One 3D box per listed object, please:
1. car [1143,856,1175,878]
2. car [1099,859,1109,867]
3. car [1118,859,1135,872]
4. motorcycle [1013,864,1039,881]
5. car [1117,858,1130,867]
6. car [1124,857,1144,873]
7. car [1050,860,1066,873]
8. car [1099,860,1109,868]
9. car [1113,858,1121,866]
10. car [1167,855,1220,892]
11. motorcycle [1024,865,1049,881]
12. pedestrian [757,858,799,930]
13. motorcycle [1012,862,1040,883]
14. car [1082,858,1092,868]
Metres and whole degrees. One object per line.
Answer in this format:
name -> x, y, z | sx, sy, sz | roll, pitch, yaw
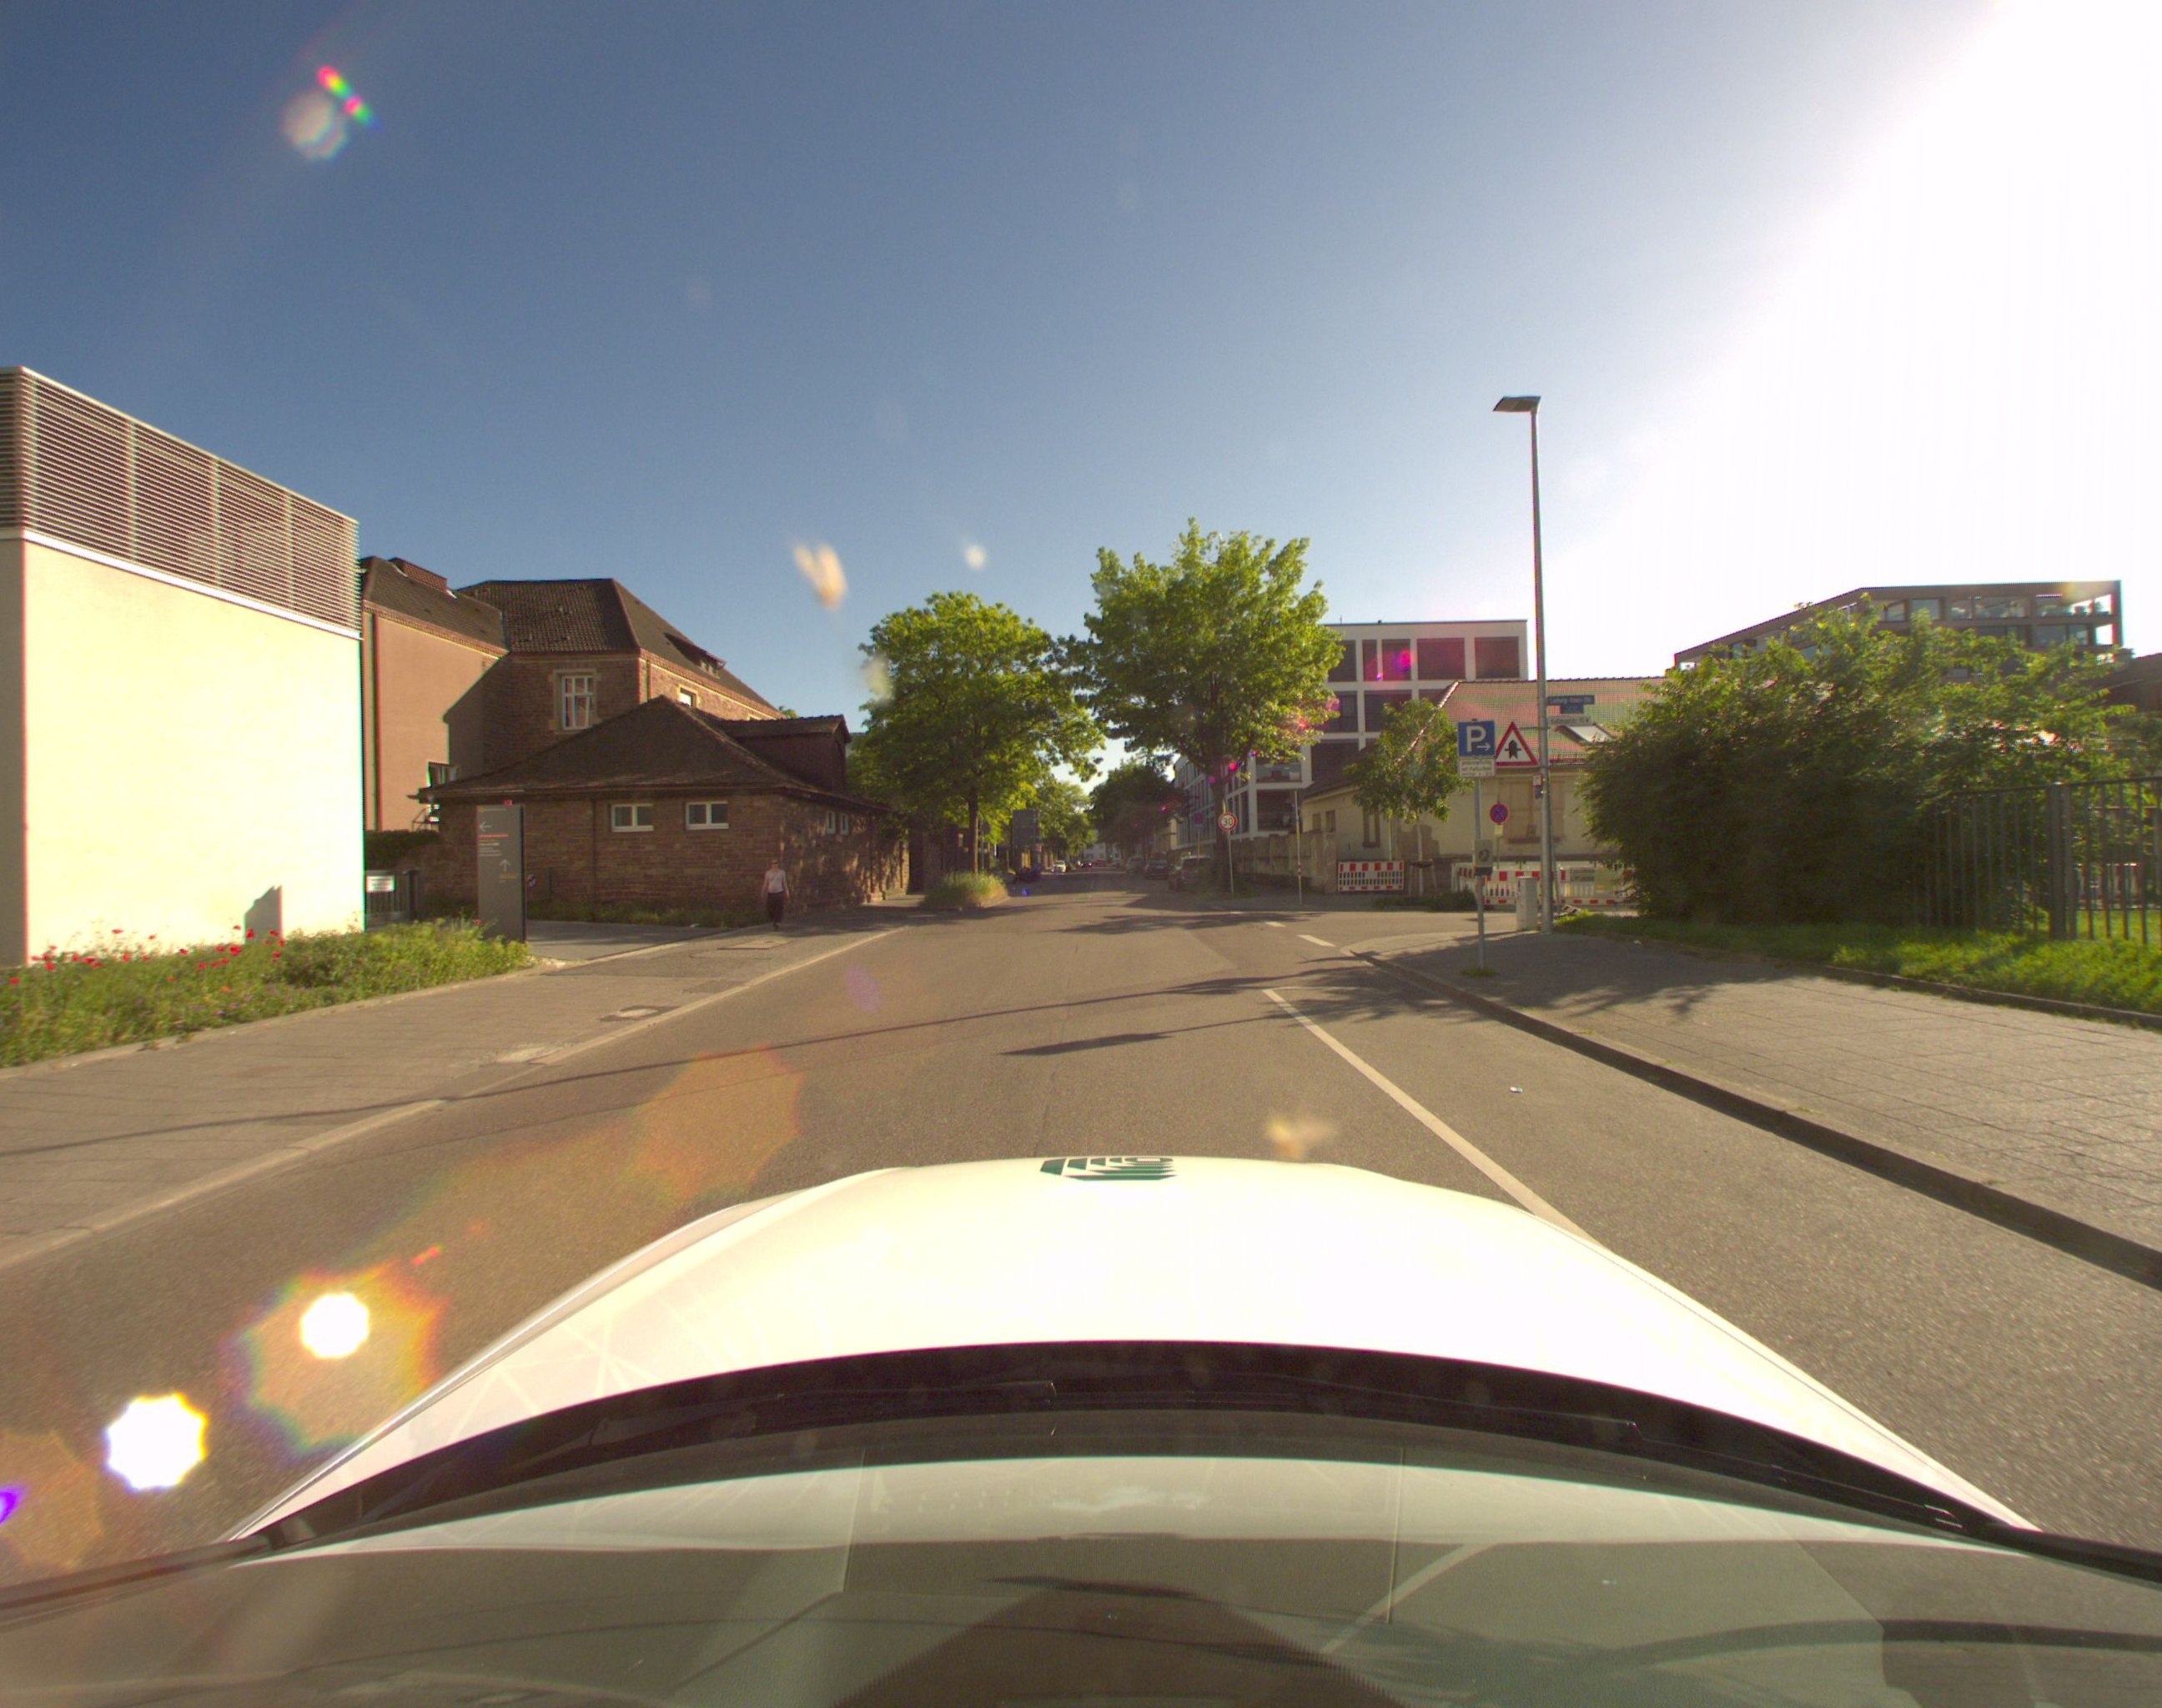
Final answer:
car -> 5.384, 0.888, 56.536 | 1.761, 1.440, 3.999 | -2, 0, 0
car -> 4.382, 1.776, 156.663 | 1.761, 1.548, 4.065 | -2, 0, 0
car -> 5.588, 1.422, 100.883 | 1.986, 1.465, 3.838 | -1, 0, 2
motorcycle -> -3.681, 1.203, 54.617 | 0.570, 1.074, 2.135 | -2, 0, 34
car -> 6.902, 1.417, 132.679 | 1.986, 1.425, 3.838 | -1, 0, 2
car -> 5.545, 1.111, 85.201 | 1.943, 1.578, 3.838 | -1, 0, 2
car -> -2.678, 1.473, 97.412 | 1.761, 1.487, 3.999 | -2, 0, 0
car -> 4.477, 1.937, 156.953 | 1.882, 1.400, 3.838 | -2, 0, 2
car -> 7.291, 1.619, 166.439 | 1.579, 1.400, 3.838 | -1, 0, 2
car -> 4.780, 0.804, 35.170 | 1.697, 1.468, 4.789 | -1, 0, 1
motorcycle -> -3.156, 1.353, 57.727 | 0.570, 1.074, 2.135 | -2, 0, 34
pedestrian -> -6.887, 0.891, 18.544 | 0.519, 1.562, 1.096 | -1, 0, 0
motorcycle -> -3.596, 1.199, 53.145 | 0.570, 1.276, 2.135 | -2, 0, 34
car -> 1.075, 1.555, 140.927 | 1.647, 1.530, 4.001 | -1, 0, 1
